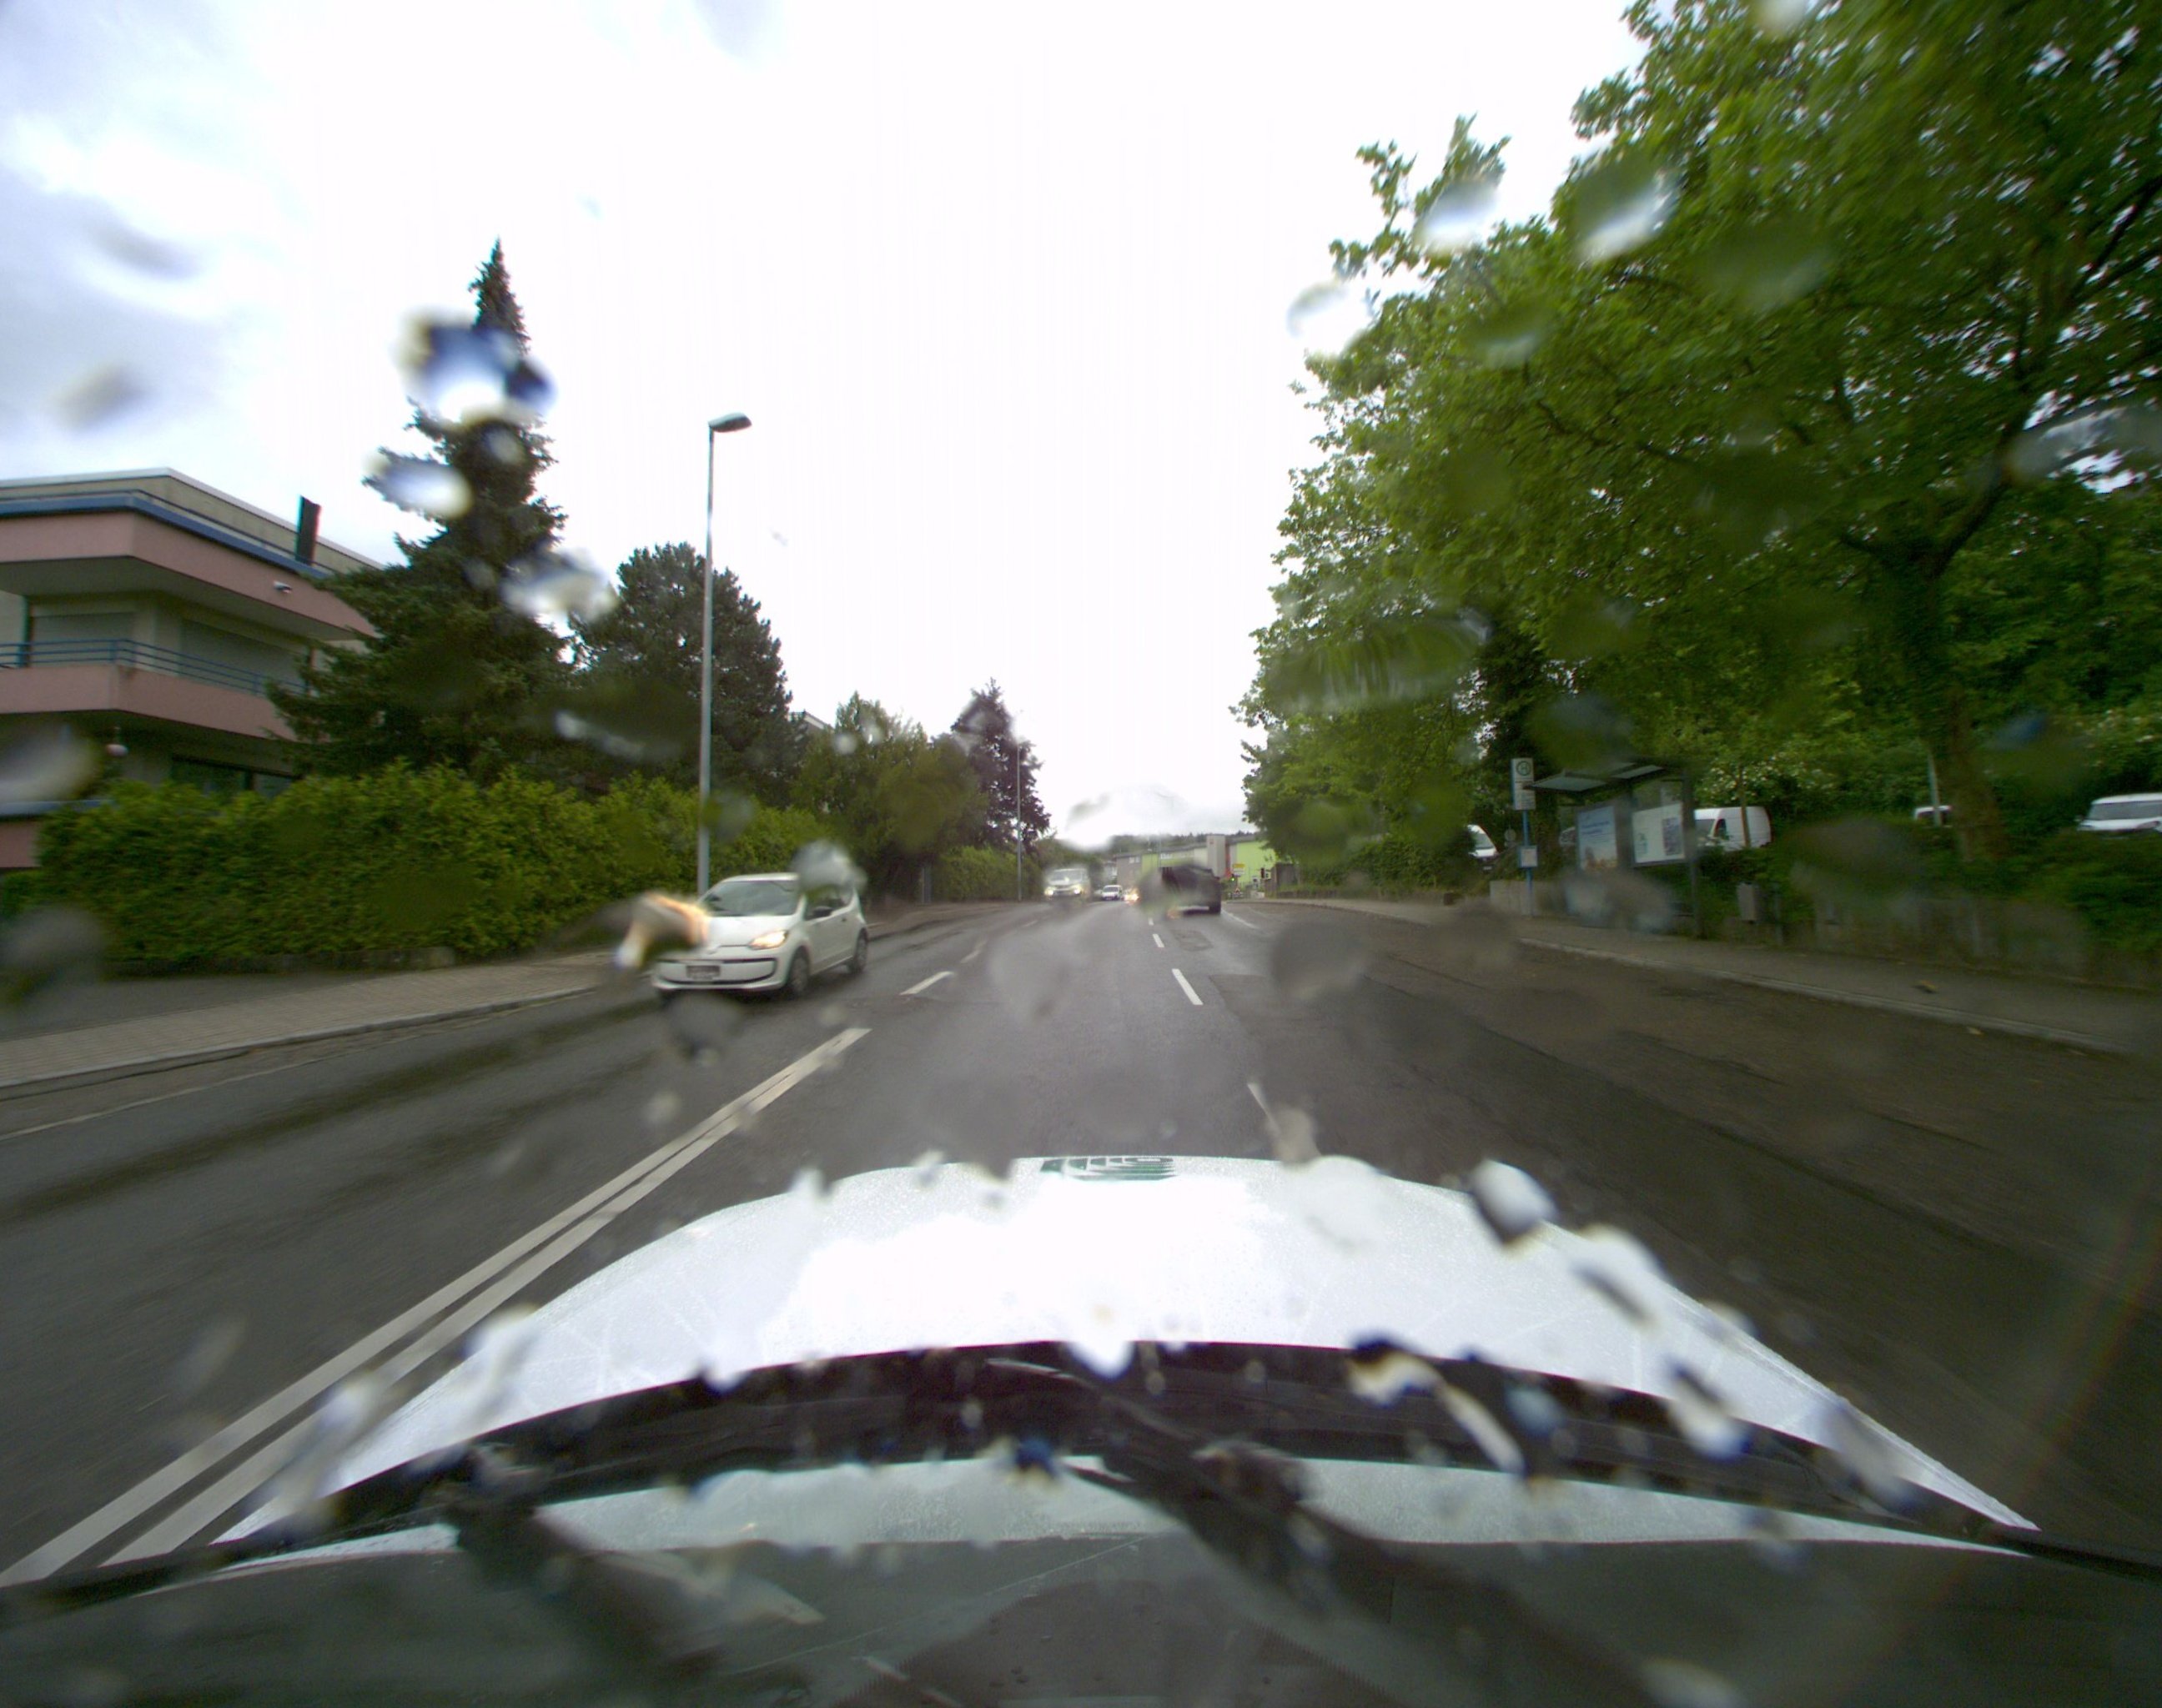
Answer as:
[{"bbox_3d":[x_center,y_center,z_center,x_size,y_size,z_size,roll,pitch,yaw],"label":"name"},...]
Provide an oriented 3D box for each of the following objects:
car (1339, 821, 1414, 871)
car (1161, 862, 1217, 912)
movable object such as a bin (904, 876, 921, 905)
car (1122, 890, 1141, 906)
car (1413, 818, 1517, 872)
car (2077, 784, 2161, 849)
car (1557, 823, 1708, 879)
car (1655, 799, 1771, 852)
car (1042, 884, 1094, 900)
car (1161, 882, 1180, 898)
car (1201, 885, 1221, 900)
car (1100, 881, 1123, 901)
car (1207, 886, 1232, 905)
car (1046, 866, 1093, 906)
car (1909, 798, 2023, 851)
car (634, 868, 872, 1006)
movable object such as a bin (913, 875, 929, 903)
[{"bbox_3d":[14.021,-0.386,38.929,1.988,2.226,4.130,0,0,-2],"label":"car"},{"bbox_3d":[3.777,1.111,28.800,1.780,1.603,4.261,-1,-1,6],"label":"car"},{"bbox_3d":[-7.778,1.679,37.689,0.545,1.326,0.807,0,-2,5],"label":"movable object such as a bin"},{"bbox_3d":[5.466,4.706,88.009,1.626,1.580,4.065,-5,-4,8],"label":"car"},{"bbox_3d":[17.270,-0.377,36.924,2.041,2.284,5.009,0,0,-5],"label":"car"},{"bbox_3d":[32.257,-1.084,24.776,4.191,1.769,1.787,1,0,-30],"label":"car"},{"bbox_3d":[17.214,-0.090,25.681,1.816,1.583,4.168,-1,0,-2],"label":"car"},{"bbox_3d":[26.717,-1.135,34.389,5.219,2.013,1.980,1,0,-30],"label":"car"},{"bbox_3d":[-1.138,3.436,73.307,4.463,1.362,1.806,0,-2,3],"label":"car"},{"bbox_3d":[8.950,3.609,81.129,1.672,1.506,3.782,-3,-4,9],"label":"car"},{"bbox_3d":[13.400,3.969,83.725,1.981,1.442,4.011,0,-1,10],"label":"car"},{"bbox_3d":[2.898,3.474,76.414,1.691,1.708,3.987,2,-3,9],"label":"car"},{"bbox_3d":[11.214,3.350,66.064,1.982,1.442,4.010,0,-1,9],"label":"car"},{"bbox_3d":[-0.567,1.683,43.969,1.854,1.917,5.037,-3,-2,6],"label":"car"},{"bbox_3d":[30.883,-0.997,28.414,4.191,1.665,1.787,1,0,-30],"label":"car"},{"bbox_3d":[-4.037,0.944,10.635,1.679,1.454,3.398,-1,-1,1],"label":"car"},{"bbox_3d":[-7.663,1.672,38.977,0.545,1.326,0.807,0,-2,5],"label":"movable object such as a bin"}]
